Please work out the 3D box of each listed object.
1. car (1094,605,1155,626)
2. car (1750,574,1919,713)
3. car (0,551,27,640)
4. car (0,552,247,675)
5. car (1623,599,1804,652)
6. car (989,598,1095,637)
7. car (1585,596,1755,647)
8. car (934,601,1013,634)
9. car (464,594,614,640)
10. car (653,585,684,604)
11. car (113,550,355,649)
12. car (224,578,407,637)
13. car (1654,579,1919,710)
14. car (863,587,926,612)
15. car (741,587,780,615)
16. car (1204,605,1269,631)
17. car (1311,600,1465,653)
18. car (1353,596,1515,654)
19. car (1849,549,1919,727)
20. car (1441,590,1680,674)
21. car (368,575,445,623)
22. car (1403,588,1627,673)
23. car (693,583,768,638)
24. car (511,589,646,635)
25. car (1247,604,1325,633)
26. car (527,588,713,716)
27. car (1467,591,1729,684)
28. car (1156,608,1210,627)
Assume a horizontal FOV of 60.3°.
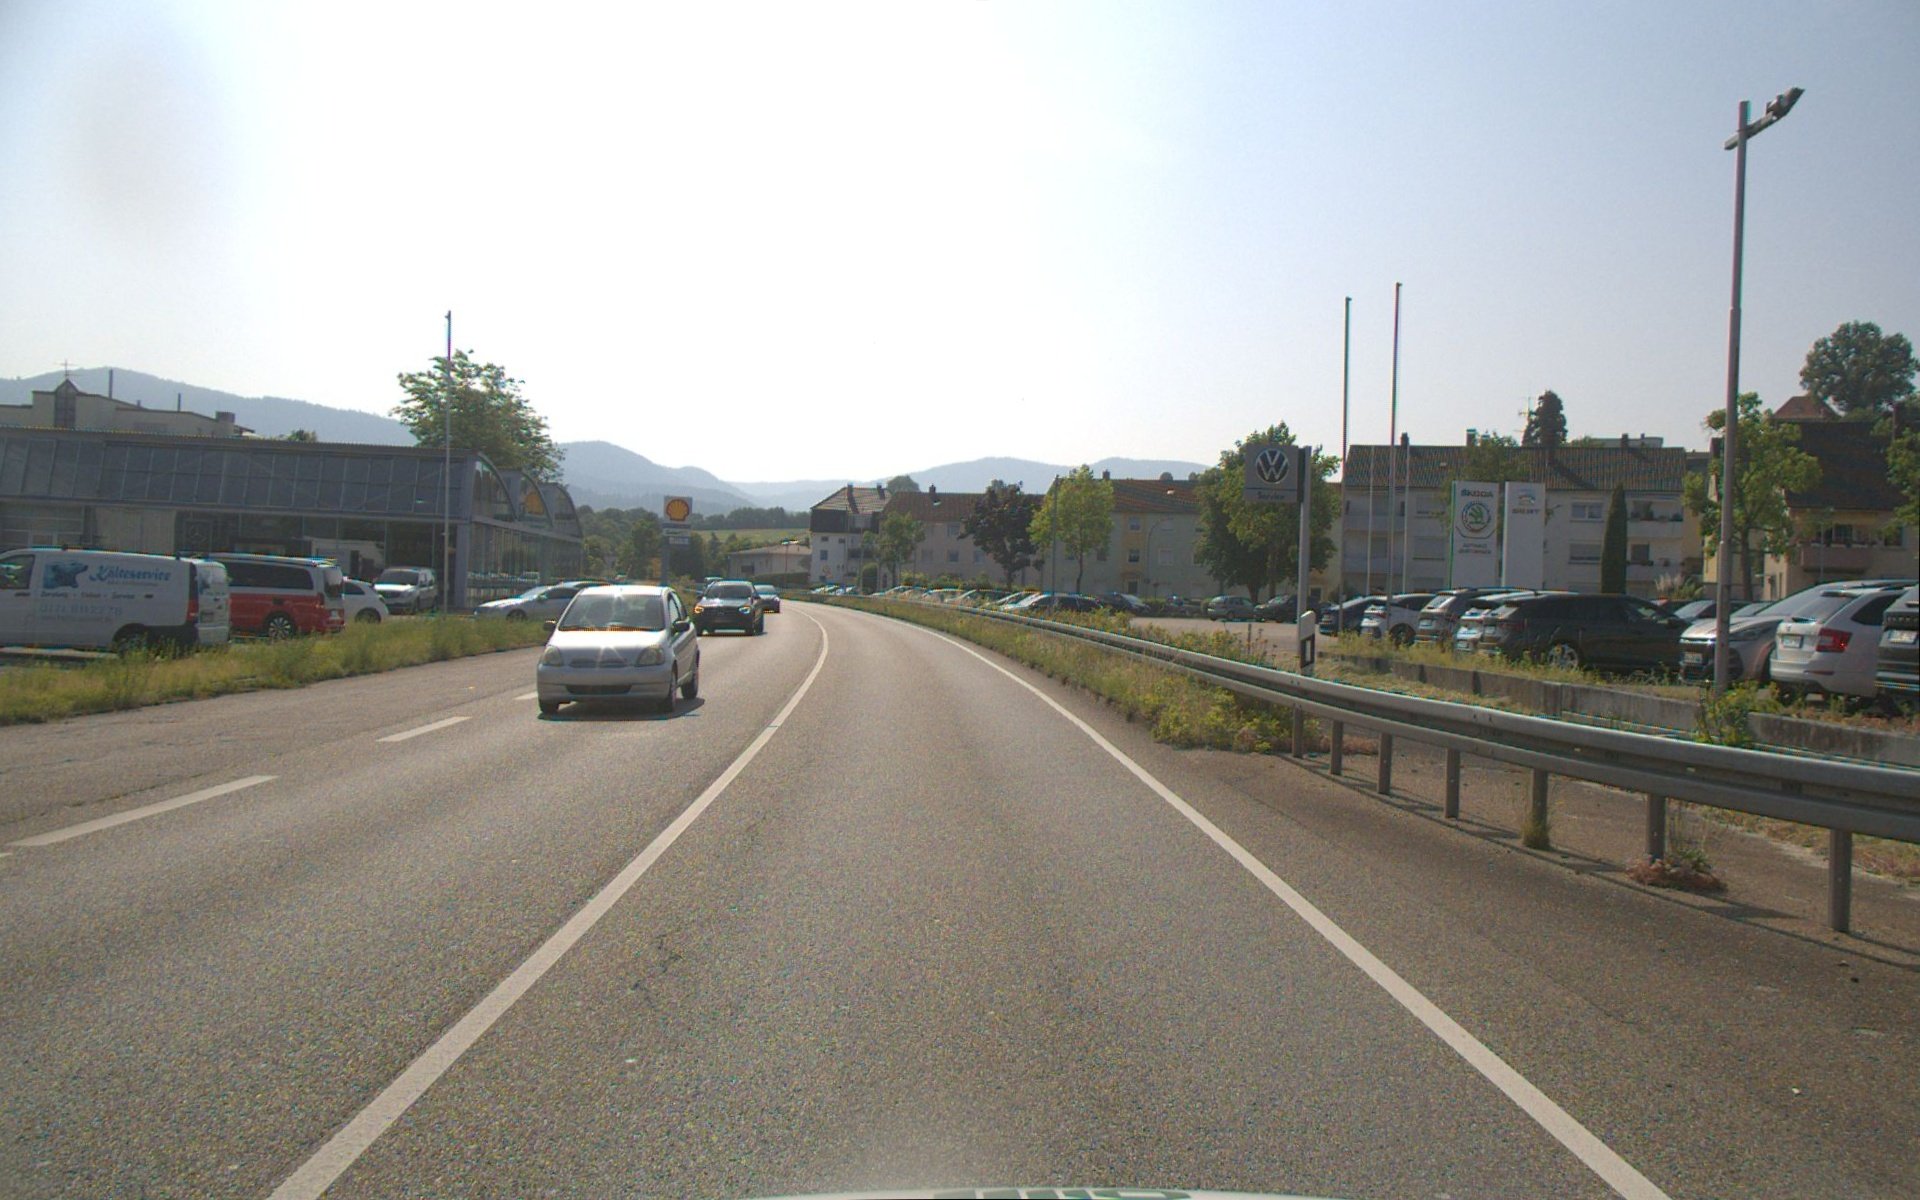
[{"bbox_3d":[11.402,1.082,114.616,1.890,1.430,4.475,1,-1,-32],"label":"car"},{"bbox_3d":[11.412,0.486,18.890,3.950,1.512,1.723,0,-1,5],"label":"car"},{"bbox_3d":[-21.833,-0.215,33.770,4.296,1.839,1.999,3,0,-6],"label":"car"},{"bbox_3d":[-15.126,0.192,28.612,4.580,1.890,2.141,3,0,-6],"label":"car"},{"bbox_3d":[22.843,0.764,50.251,4.641,1.592,1.931,0,-1,-2],"label":"car"},{"bbox_3d":[3.300,0.716,67.265,4.080,1.517,1.729,-1,-1,-7],"label":"car"},{"bbox_3d":[22.739,0.695,53.060,4.641,1.592,1.931,0,-1,-2],"label":"car"},{"bbox_3d":[0.680,0.931,87.101,3.912,1.669,1.884,1,-1,-8],"label":"car"},{"bbox_3d":[-13.452,0.534,52.988,1.823,1.391,4.363,1,0,45],"label":"car"},{"bbox_3d":[-28.894,-0.533,163.947,1.890,1.918,4.872,0,0,-24],"label":"car"},{"bbox_3d":[-17.181,-0.012,39.366,4.699,2.016,2.226,3,0,-6],"label":"car"},{"bbox_3d":[-17.372,0.215,44.674,1.866,1.427,4.200,1,-1,45],"label":"car"},{"bbox_3d":[11.610,0.567,21.583,4.359,1.629,1.853,0,-1,-4],"label":"car"},{"bbox_3d":[-4.613,-0.019,116.339,4.238,1.669,2.136,1,-1,-8],"label":"car"},{"bbox_3d":[-10.894,0.060,90.138,1.721,1.500,4.273,0,0,-12],"label":"car"},{"bbox_3d":[16.560,1.080,99.006,3.721,1.548,1.637,1,0,-34],"label":"car"},{"bbox_3d":[12.696,0.774,49.159,4.078,1.542,1.821,0,-1,-8],"label":"car"},{"bbox_3d":[13.282,0.693,46.462,4.012,1.542,1.823,1,-1,-4],"label":"car"},{"bbox_3d":[11.065,0.372,16.125,3.796,1.693,1.841,0,-1,5],"label":"car"},{"bbox_3d":[11.403,0.605,31.549,3.907,1.520,1.790,1,-1,-3],"label":"car"},{"bbox_3d":[-21.596,-0.069,64.695,1.769,1.743,4.405,1,1,-4],"label":"car"},{"bbox_3d":[11.368,0.626,33.991,3.997,1.638,1.790,1,-1,-6],"label":"car"},{"bbox_3d":[-7.249,0.328,52.554,1.774,1.658,4.541,0,0,0],"label":"car"},{"bbox_3d":[-13.178,0.413,57.258,1.952,1.533,4.202,1,0,45],"label":"car"},{"bbox_3d":[18.966,1.102,96.241,4.438,1.628,1.821,1,-1,-32],"label":"car"},{"bbox_3d":[-4.278,0.608,21.304,1.643,1.498,3.706,0,0,0],"label":"car"},{"bbox_3d":[11.037,0.642,28.785,3.905,1.520,1.730,1,-1,-1],"label":"car"},{"bbox_3d":[14.770,1.167,109.664,1.574,1.207,3.622,1,-1,-32],"label":"car"}]
